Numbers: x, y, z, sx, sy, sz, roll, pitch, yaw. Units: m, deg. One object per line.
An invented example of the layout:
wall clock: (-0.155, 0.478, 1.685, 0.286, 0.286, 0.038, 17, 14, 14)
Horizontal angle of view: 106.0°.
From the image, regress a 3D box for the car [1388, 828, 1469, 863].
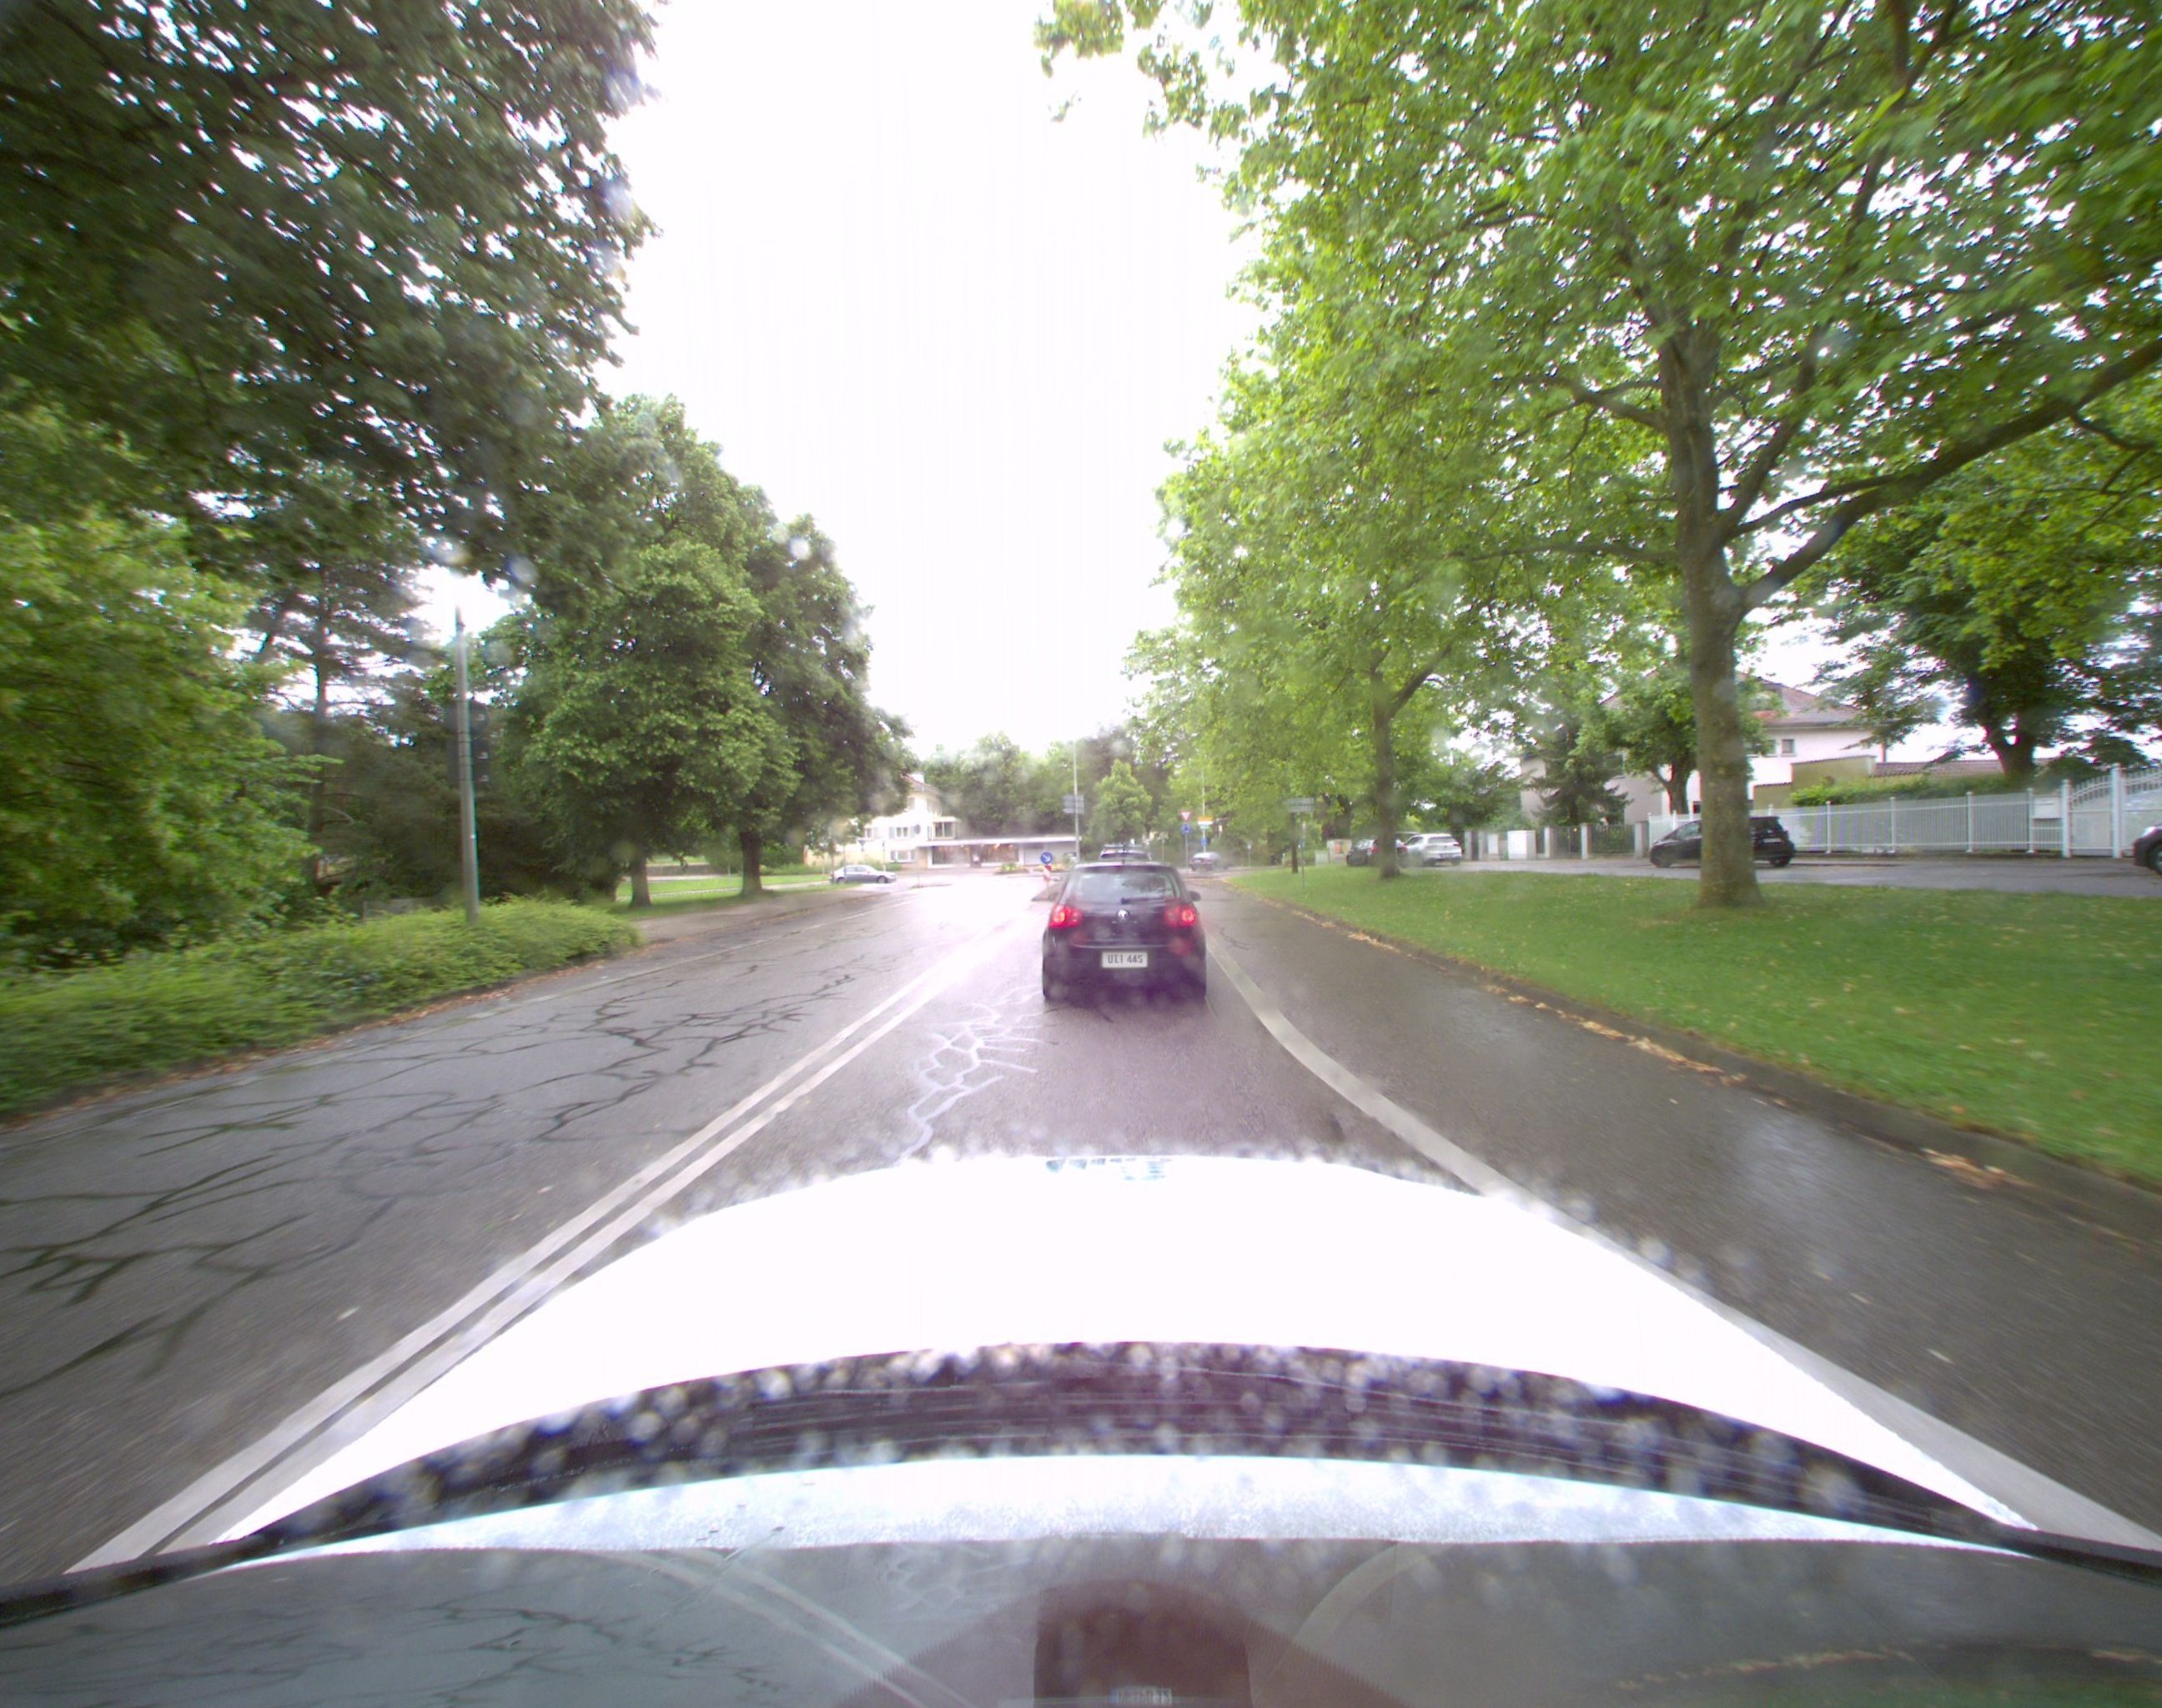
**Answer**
car: (16.032, -0.354, 37.807, 1.839, 1.471, 4.425, -3, 0, 0)

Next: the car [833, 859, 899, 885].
car: (-14.607, 1.215, 55.516, 4.010, 1.684, 1.998, 0, 0, -3)

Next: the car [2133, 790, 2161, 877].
car: (19.409, -0.361, 12.183, 1.988, 1.471, 4.121, 0, 0, -2)

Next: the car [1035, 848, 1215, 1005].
car: (0.480, 0.727, 10.006, 1.758, 1.538, 4.001, 0, 0, 1)

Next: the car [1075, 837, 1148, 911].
car: (0.829, 0.526, 22.719, 1.758, 1.801, 4.247, -3, -1, 1)

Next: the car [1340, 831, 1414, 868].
car: (13.581, -0.177, 37.603, 1.758, 1.471, 4.599, -4, -1, 1)

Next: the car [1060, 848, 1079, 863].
car: (-1.239, 0.156, 86.478, 1.809, 1.486, 3.825, -3, 0, -4)

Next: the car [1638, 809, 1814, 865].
car: (19.205, -0.451, 24.554, 1.755, 1.471, 4.354, -2, 0, -2)

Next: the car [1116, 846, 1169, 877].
car: (3.681, 0.462, 48.067, 1.976, 1.741, 4.165, 0, 0, 21)

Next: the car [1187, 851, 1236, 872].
car: (9.886, 0.591, 61.447, 1.974, 1.530, 4.025, -1, -1, 37)

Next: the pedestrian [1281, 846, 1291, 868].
pedestrian: (15.936, 0.255, 63.411, 0.528, 1.713, 0.633, 0, -1, -12)

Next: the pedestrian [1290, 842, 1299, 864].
pedestrian: (16.799, -0.052, 64.057, 0.629, 1.713, 0.532, -1, -1, 19)
